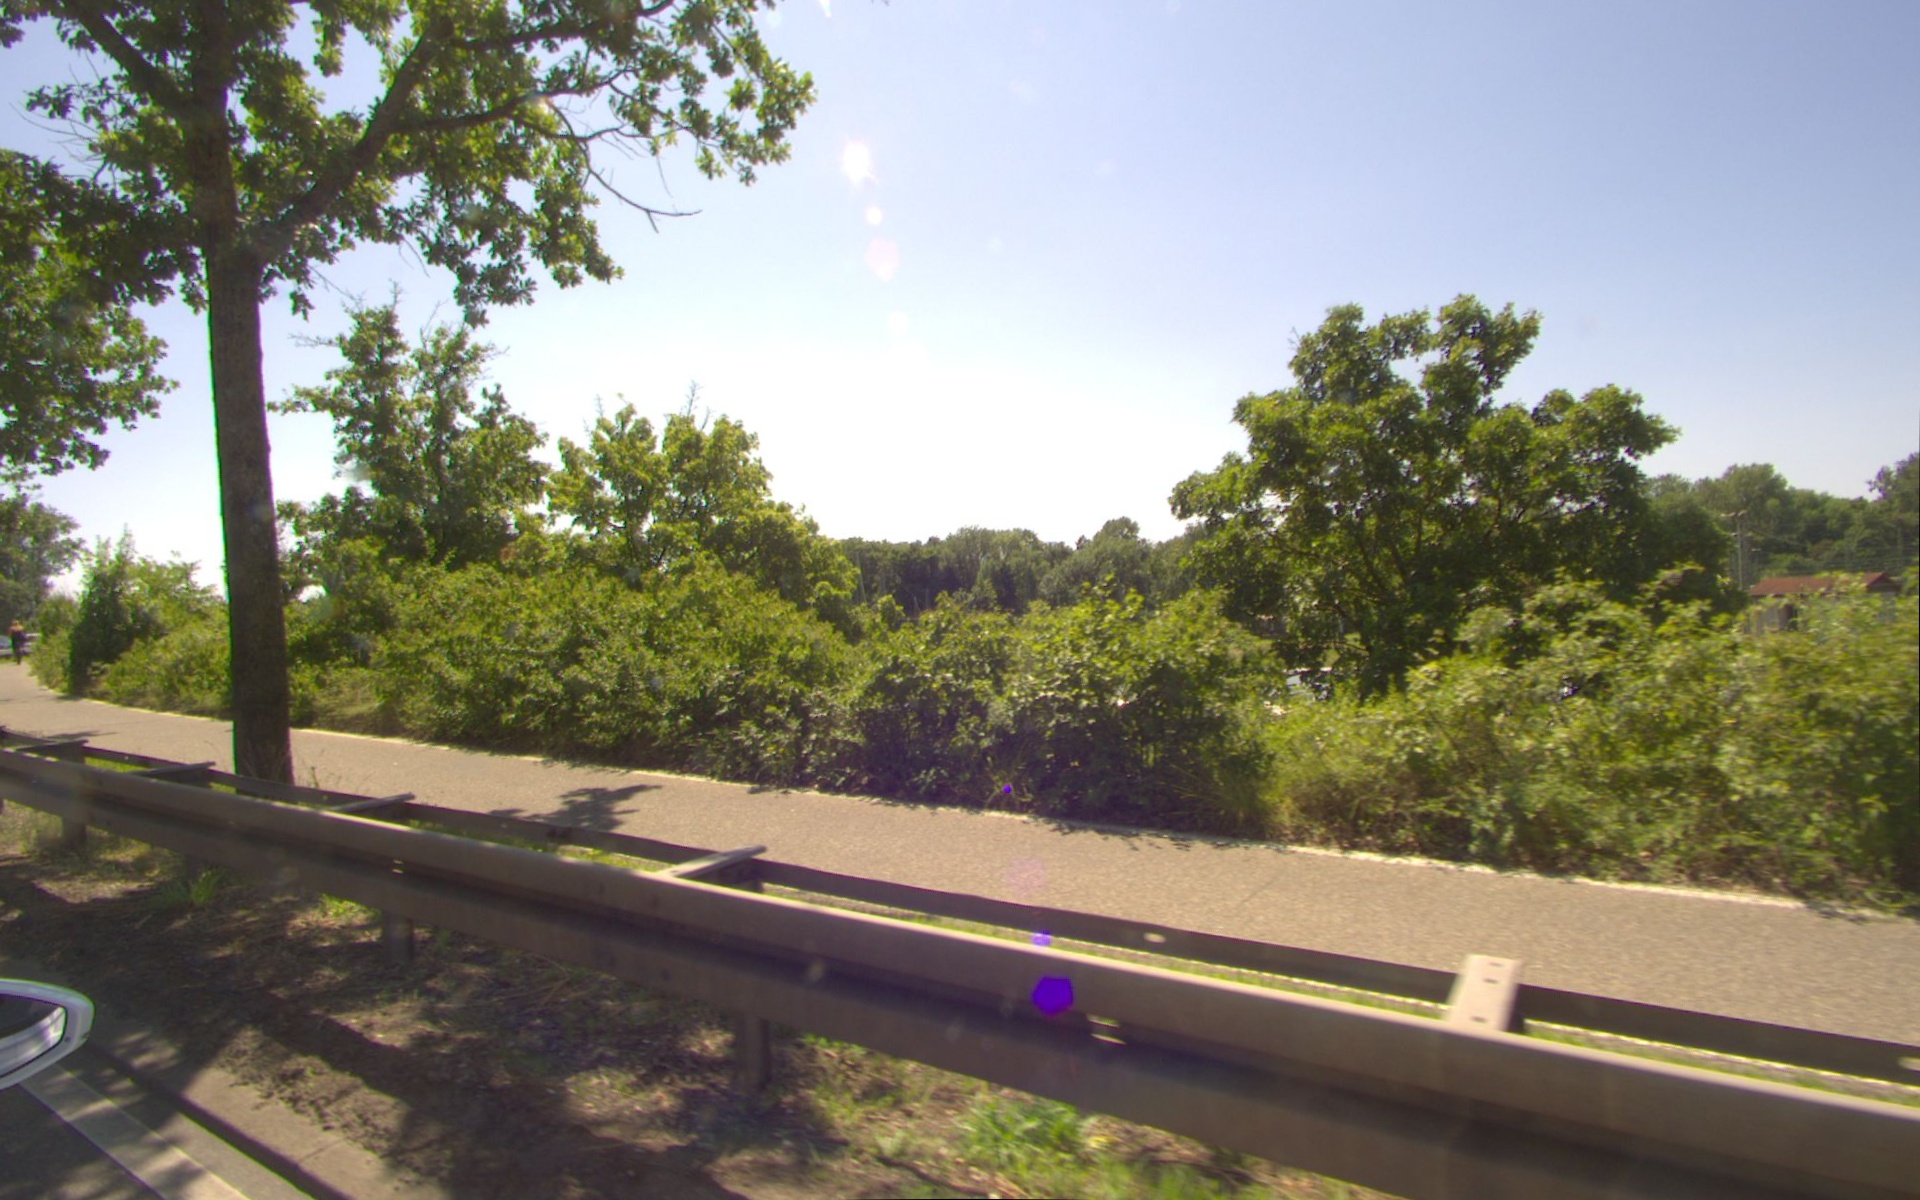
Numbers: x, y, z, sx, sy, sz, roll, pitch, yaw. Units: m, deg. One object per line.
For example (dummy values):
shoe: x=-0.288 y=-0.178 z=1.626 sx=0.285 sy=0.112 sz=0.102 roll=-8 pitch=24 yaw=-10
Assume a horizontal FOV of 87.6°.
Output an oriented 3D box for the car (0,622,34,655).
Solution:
car: x=-52.791 y=2.100 z=55.050 sx=1.974 sy=1.739 sz=4.839 roll=0 pitch=-2 yaw=-33

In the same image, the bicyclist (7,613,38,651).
bicyclist: x=-38.737 y=1.311 z=41.390 sx=0.854 sy=1.543 sz=0.972 roll=0 pitch=-1 yaw=-40

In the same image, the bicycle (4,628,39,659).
bicycle: x=-38.811 y=1.778 z=41.449 sx=0.853 sy=1.252 sz=2.292 roll=0 pitch=-2 yaw=-38

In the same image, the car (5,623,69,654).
car: x=-56.222 y=2.317 z=61.080 sx=1.972 sy=1.790 sz=4.729 roll=0 pitch=-2 yaw=-32
